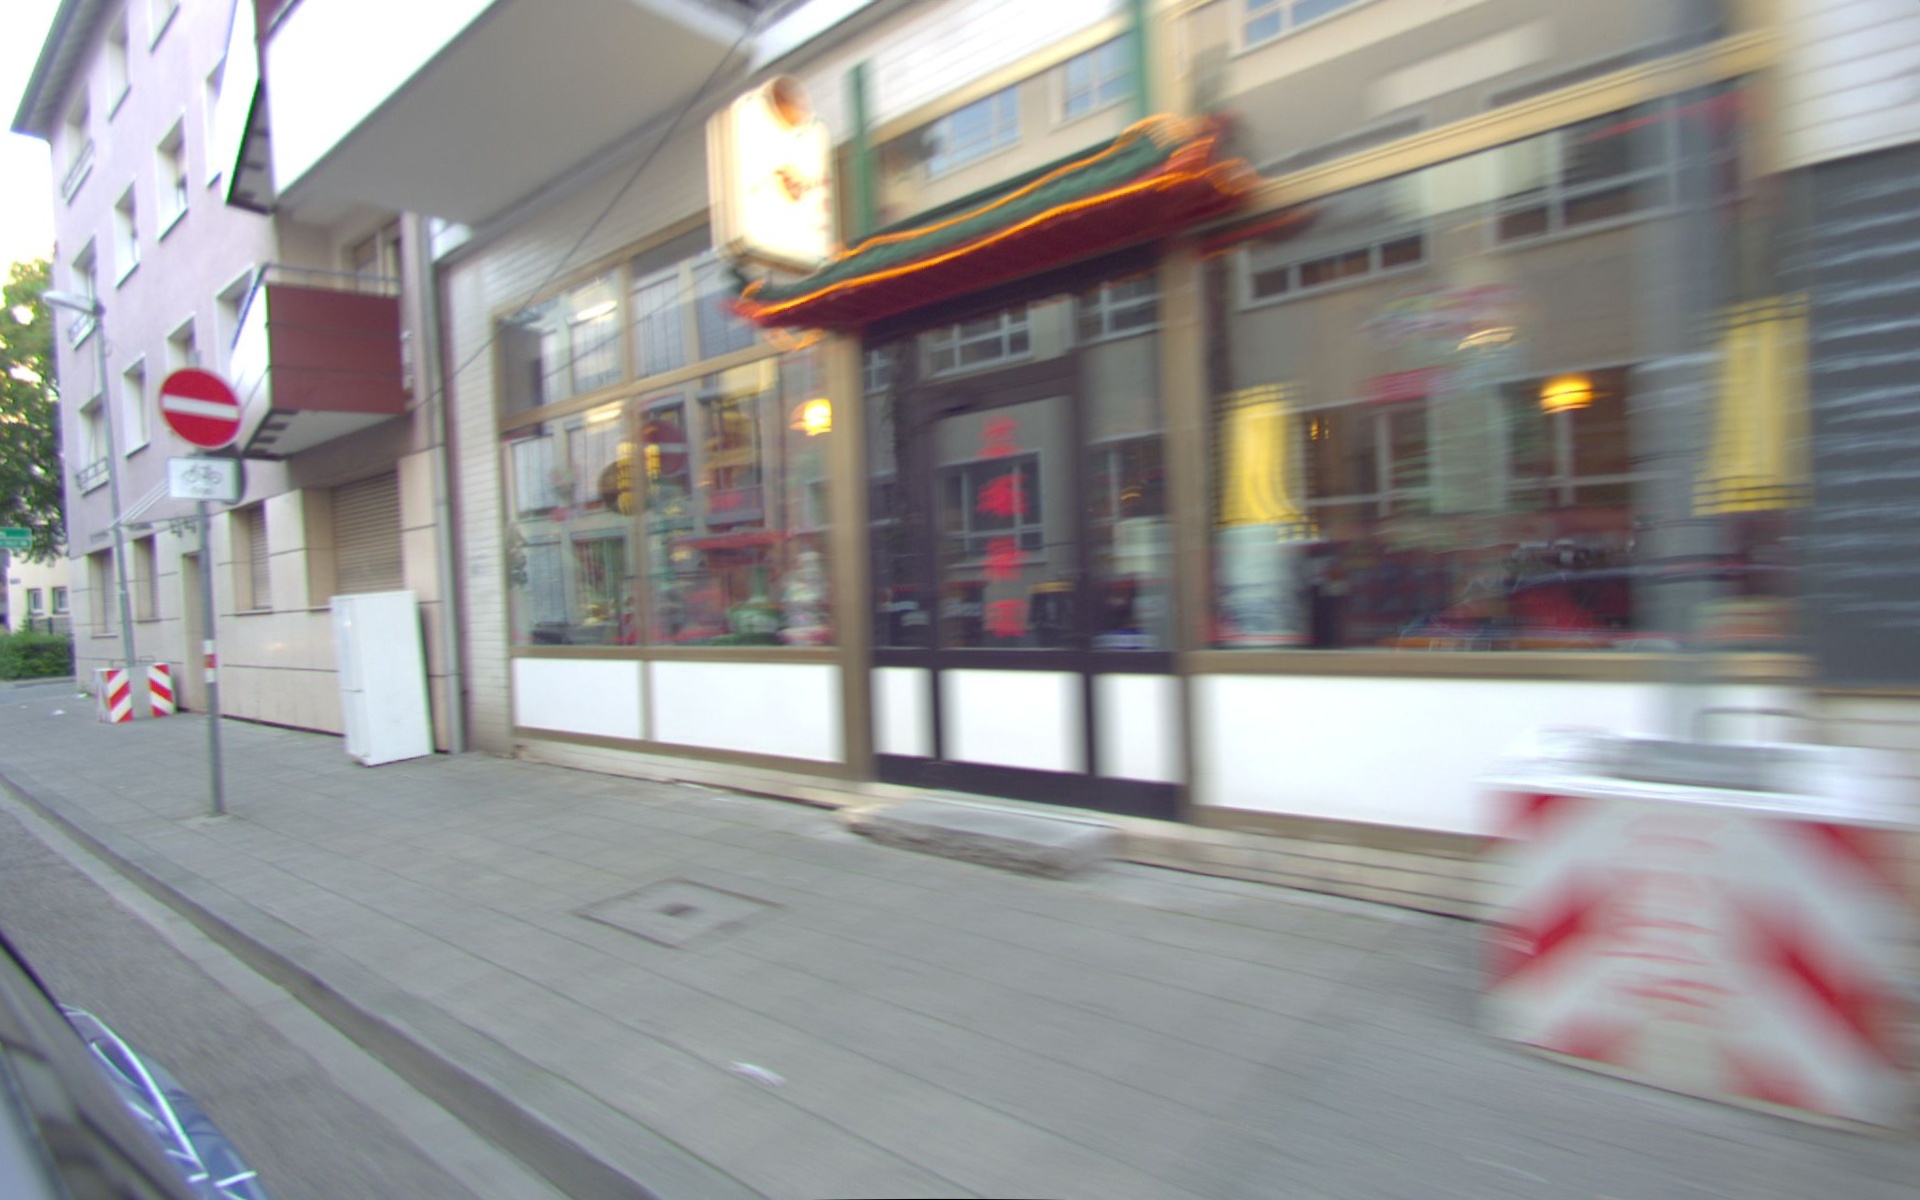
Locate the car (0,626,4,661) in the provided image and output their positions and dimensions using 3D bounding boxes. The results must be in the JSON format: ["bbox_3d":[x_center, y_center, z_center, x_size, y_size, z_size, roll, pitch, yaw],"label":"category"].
[{"bbox_3d":[-58.689,2.572,59.220,4.294,2.092,2.215,0,0,18],"label":"car"}]
